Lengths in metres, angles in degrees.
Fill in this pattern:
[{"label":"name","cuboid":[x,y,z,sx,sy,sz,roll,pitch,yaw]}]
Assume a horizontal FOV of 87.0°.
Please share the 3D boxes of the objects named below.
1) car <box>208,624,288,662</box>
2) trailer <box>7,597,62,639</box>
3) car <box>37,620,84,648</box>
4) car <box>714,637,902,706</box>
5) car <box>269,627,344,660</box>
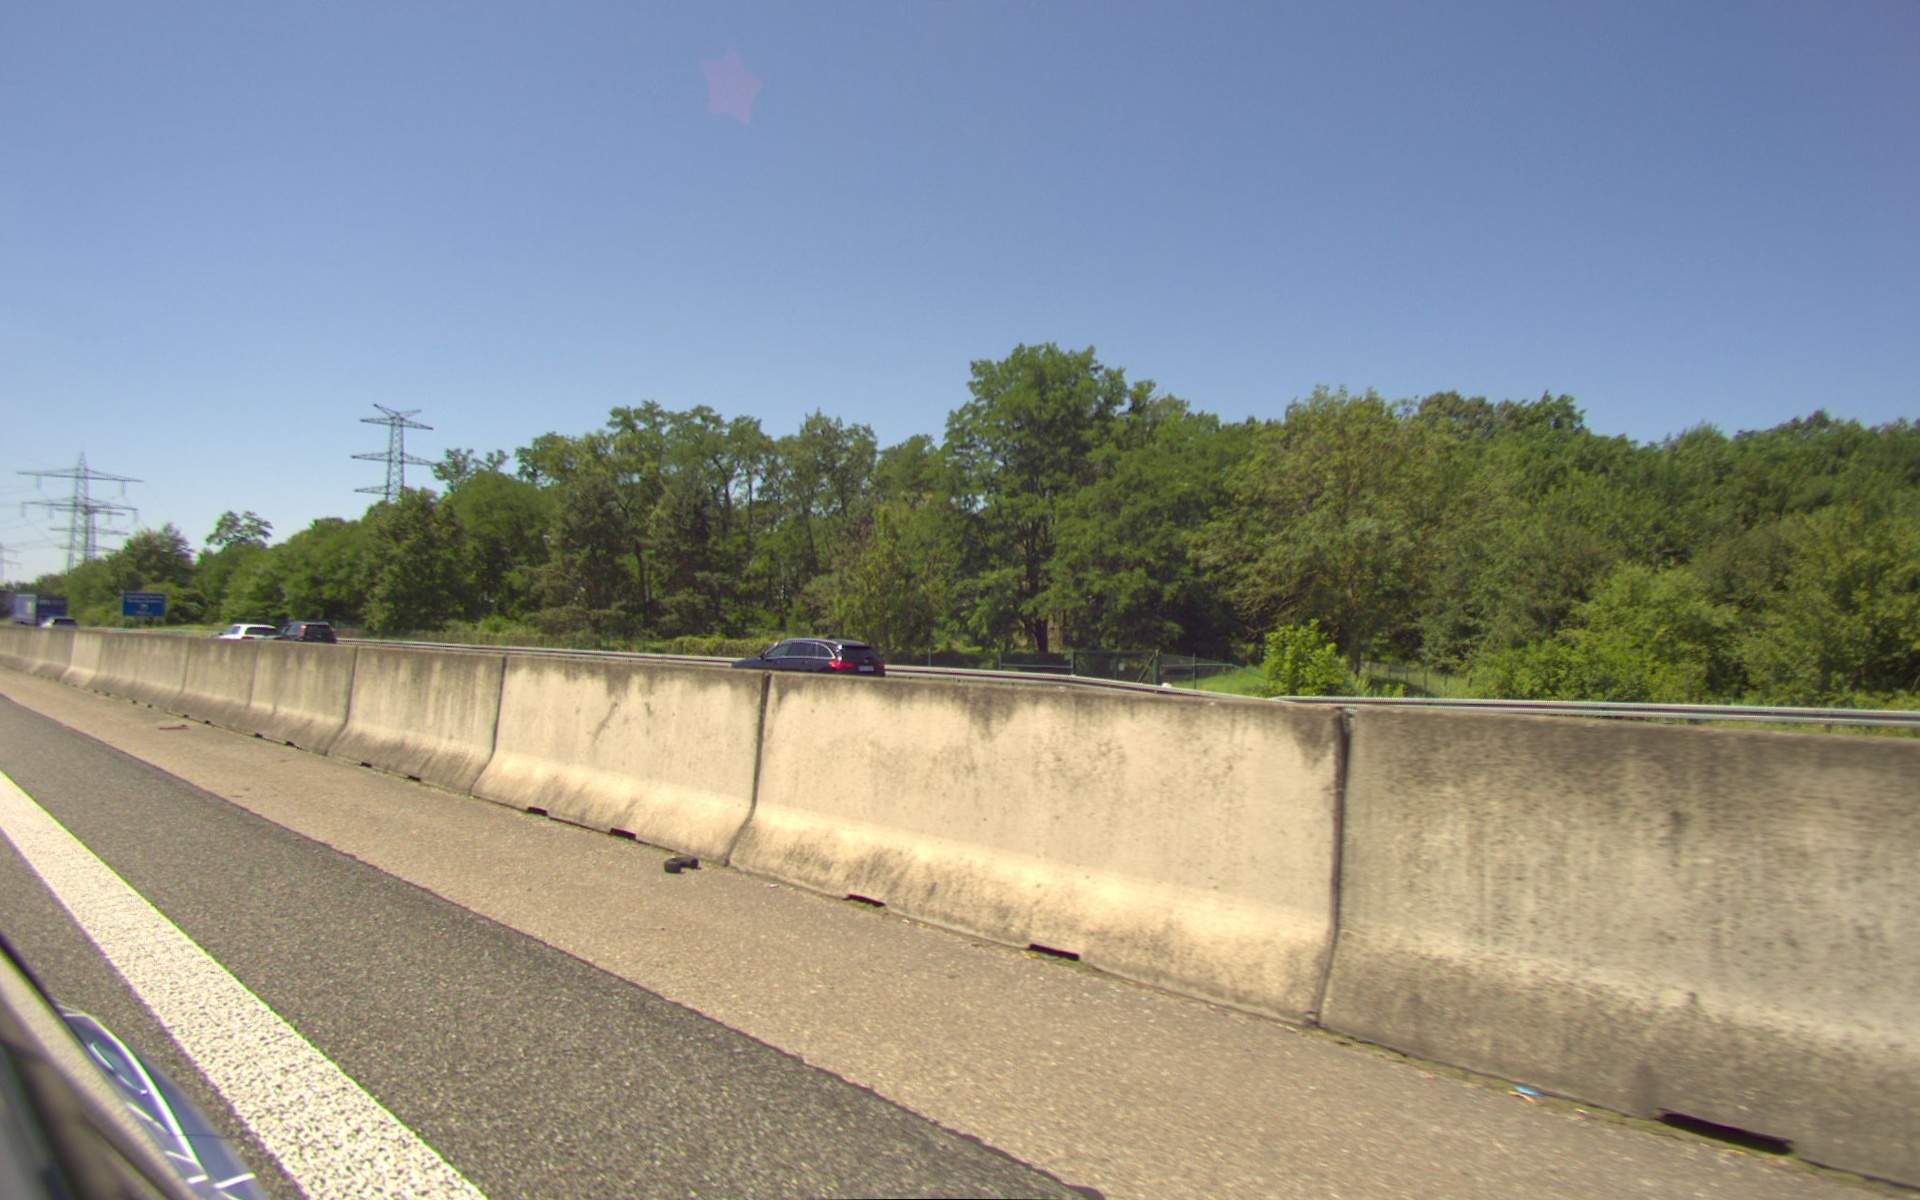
[{"label":"car","cuboid":[-31.066,1.867,44.092,4.681,1.550,1.755,-1,-4,41]},{"label":"trailer","cuboid":[-98.773,1.973,107.877,13.457,4.163,2.446,-1,-5,41]},{"label":"car","cuboid":[-68.703,2.607,77.285,4.936,2.029,1.973,-1,-4,41]},{"label":"car","cuboid":[-3.837,1.713,24.996,4.823,1.490,1.888,-1,-4,41]},{"label":"car","cuboid":[-33.430,2.204,51.739,4.681,1.570,1.973,-1,-4,41]}]
